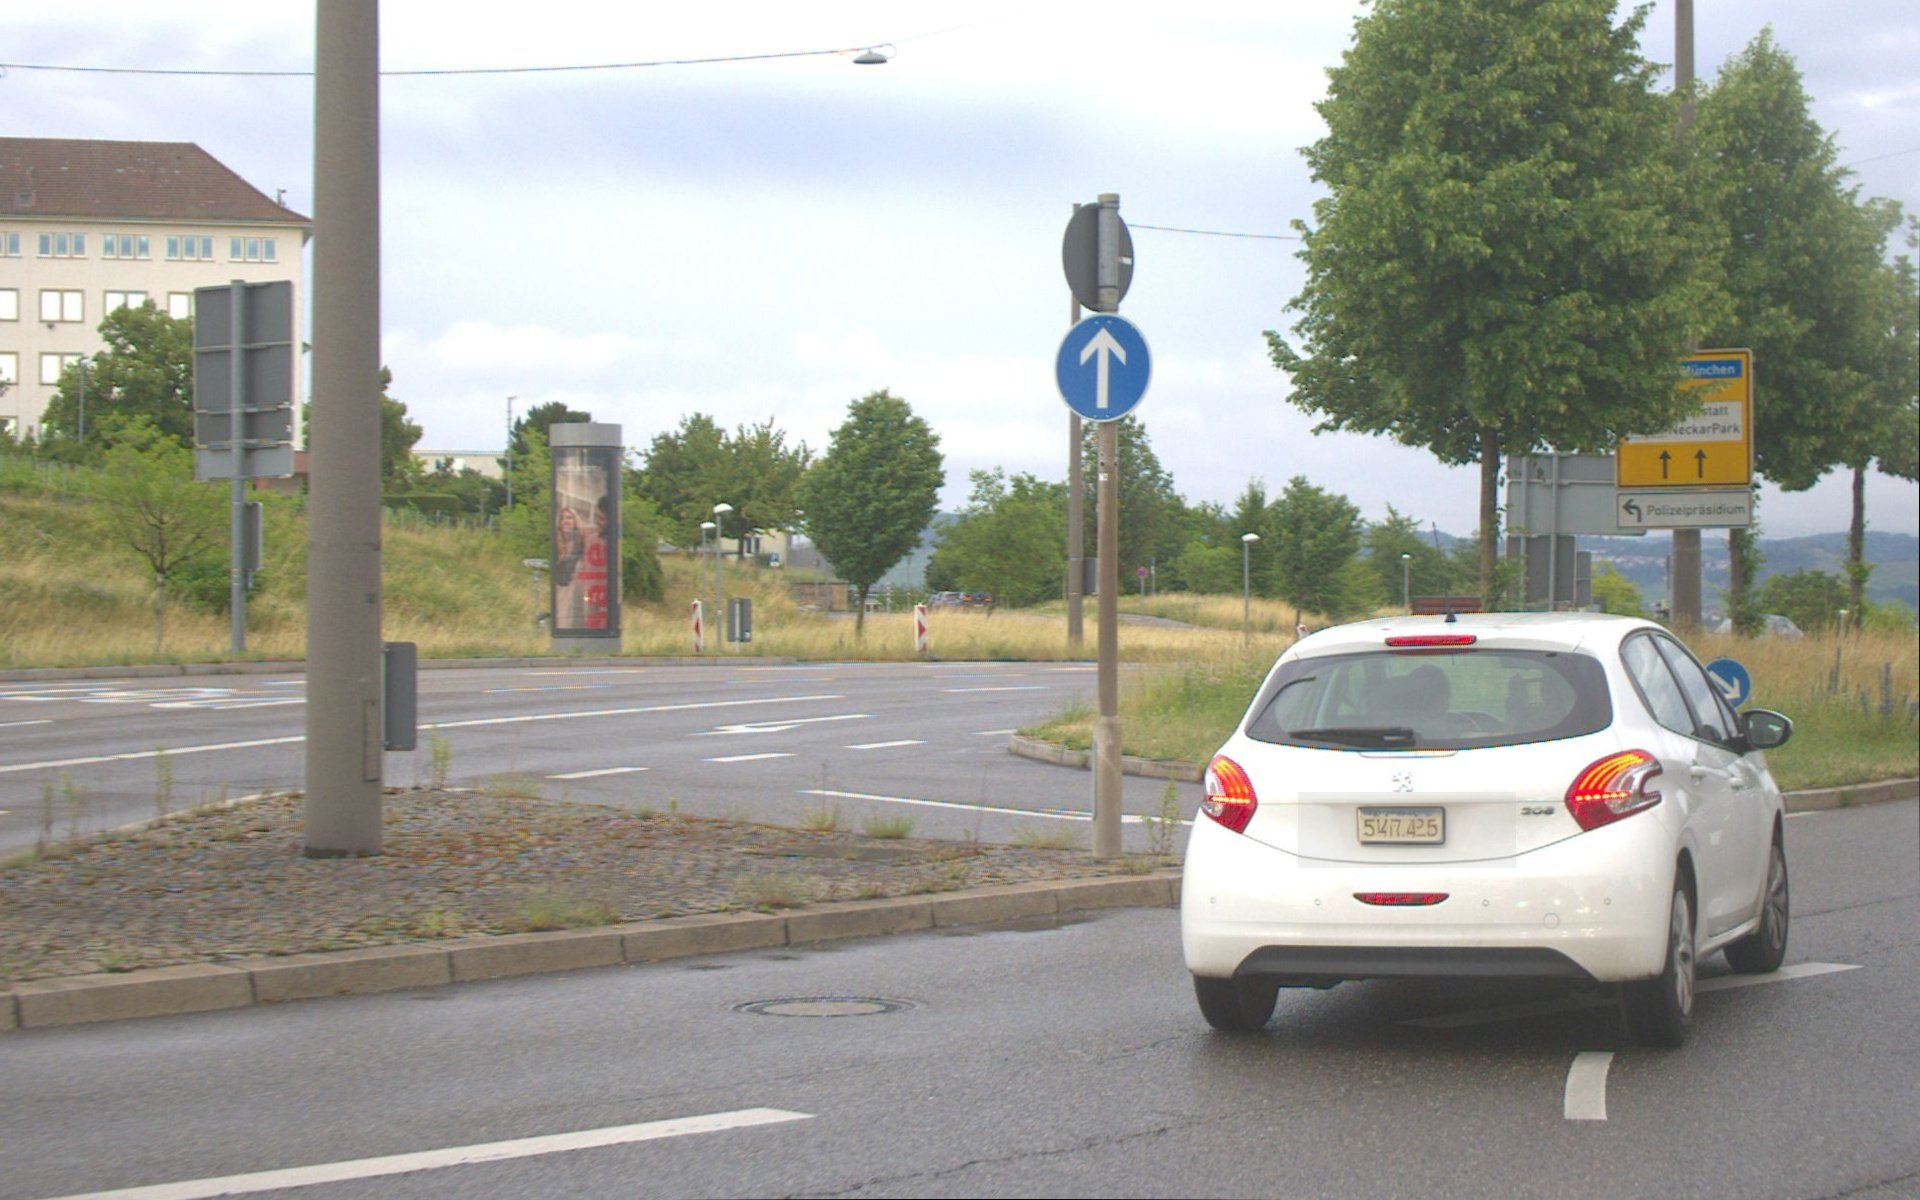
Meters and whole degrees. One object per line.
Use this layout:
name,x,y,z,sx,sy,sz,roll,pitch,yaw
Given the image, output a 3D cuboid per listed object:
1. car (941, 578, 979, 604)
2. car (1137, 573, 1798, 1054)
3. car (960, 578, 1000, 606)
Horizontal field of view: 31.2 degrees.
car,-0.004,-0.521,198.418,1.841,1.481,4.001,0,1,-5
car,2.065,0.670,12.955,1.719,1.484,3.996,1,0,19
car,1.098,-0.458,190.077,1.841,1.481,4.001,0,1,-5
